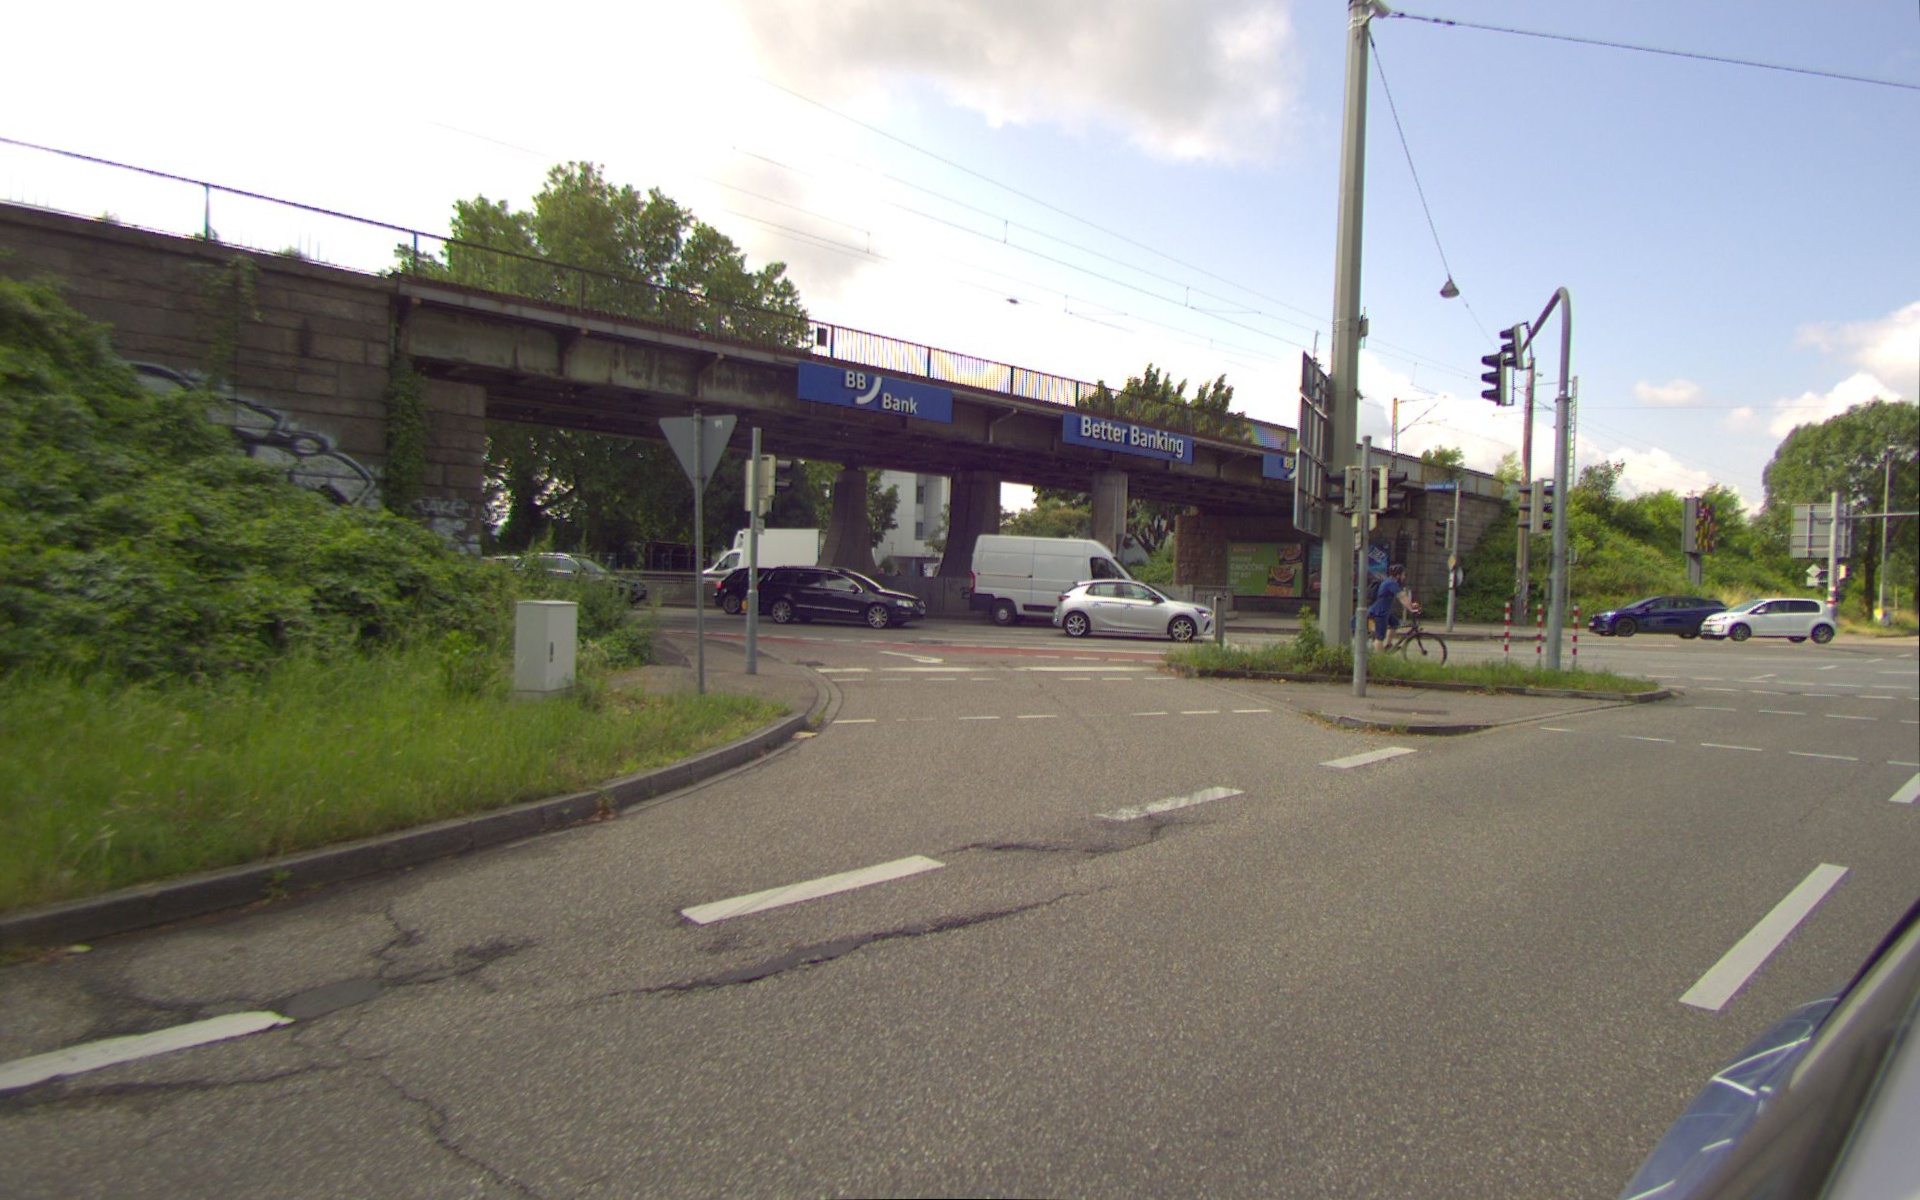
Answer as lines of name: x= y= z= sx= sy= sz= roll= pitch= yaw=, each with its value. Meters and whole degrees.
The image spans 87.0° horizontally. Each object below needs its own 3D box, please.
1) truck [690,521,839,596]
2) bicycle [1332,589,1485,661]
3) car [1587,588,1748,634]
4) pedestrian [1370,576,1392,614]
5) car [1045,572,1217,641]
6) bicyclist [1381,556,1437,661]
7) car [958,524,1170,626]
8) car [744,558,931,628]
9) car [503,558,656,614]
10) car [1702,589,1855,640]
truck: x=-8.511 y=-1.810 z=44.385 sx=5.927 sy=3.161 sz=2.449 roll=1 pitch=0 yaw=8
bicycle: x=7.564 y=0.403 z=17.199 sx=2.291 sy=1.107 sz=0.839 roll=2 pitch=1 yaw=22
car: x=26.344 y=0.411 z=37.869 sx=4.514 sy=1.596 sz=1.883 roll=1 pitch=-2 yaw=15
pedestrian: x=18.846 y=-0.225 z=45.297 sx=0.690 sy=1.671 sz=0.600 roll=1 pitch=4 yaw=44
car: x=4.137 y=0.120 z=24.494 sx=3.939 sy=1.495 sz=1.702 roll=2 pitch=2 yaw=13
bicyclist: x=7.606 y=0.125 z=17.160 sx=0.814 sy=1.698 sz=0.840 roll=0 pitch=4 yaw=21
car: x=2.956 y=-0.701 z=28.274 sx=5.546 sy=2.555 sz=2.257 roll=-1 pitch=5 yaw=16
car: x=-3.192 y=-0.223 z=26.622 sx=4.588 sy=1.602 sz=1.767 roll=2 pitch=4 yaw=10
car: x=-11.954 y=-0.464 z=31.829 sx=4.255 sy=1.595 sz=1.845 roll=2 pitch=1 yaw=16
car: x=27.535 y=0.449 z=34.158 sx=3.547 sy=1.504 sz=1.732 roll=2 pitch=1 yaw=13
